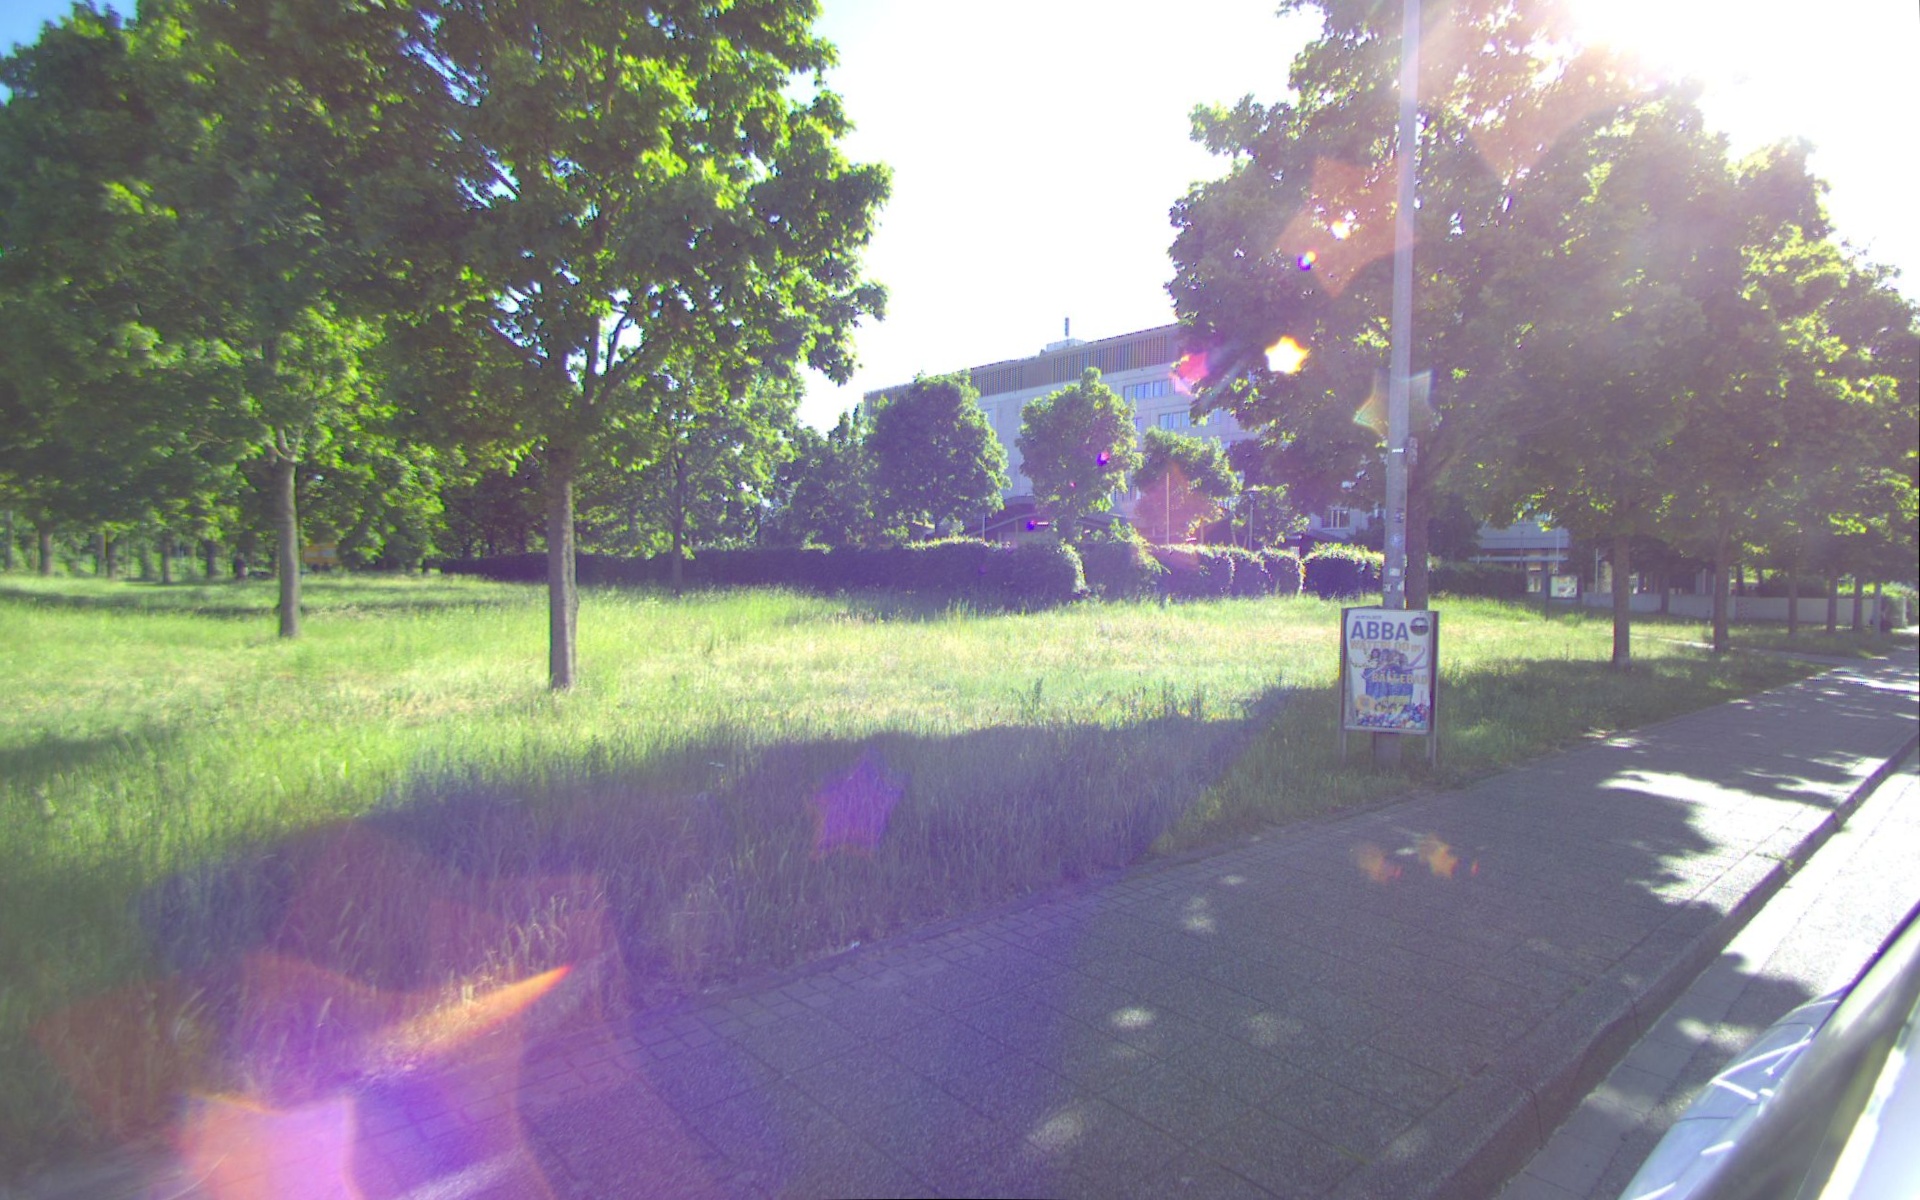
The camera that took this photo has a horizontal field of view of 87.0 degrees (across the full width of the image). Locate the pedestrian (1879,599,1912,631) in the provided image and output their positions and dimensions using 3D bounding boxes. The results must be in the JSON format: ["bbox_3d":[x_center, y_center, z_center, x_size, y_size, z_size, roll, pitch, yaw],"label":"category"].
[{"bbox_3d":[38.051,0.595,41.171,0.842,1.232,0.719,3,2,36],"label":"pedestrian"}]

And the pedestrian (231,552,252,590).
[{"bbox_3d":[-33.543,-1.361,47.261,0.726,1.748,0.888,1,1,-38],"label":"pedestrian"}]
